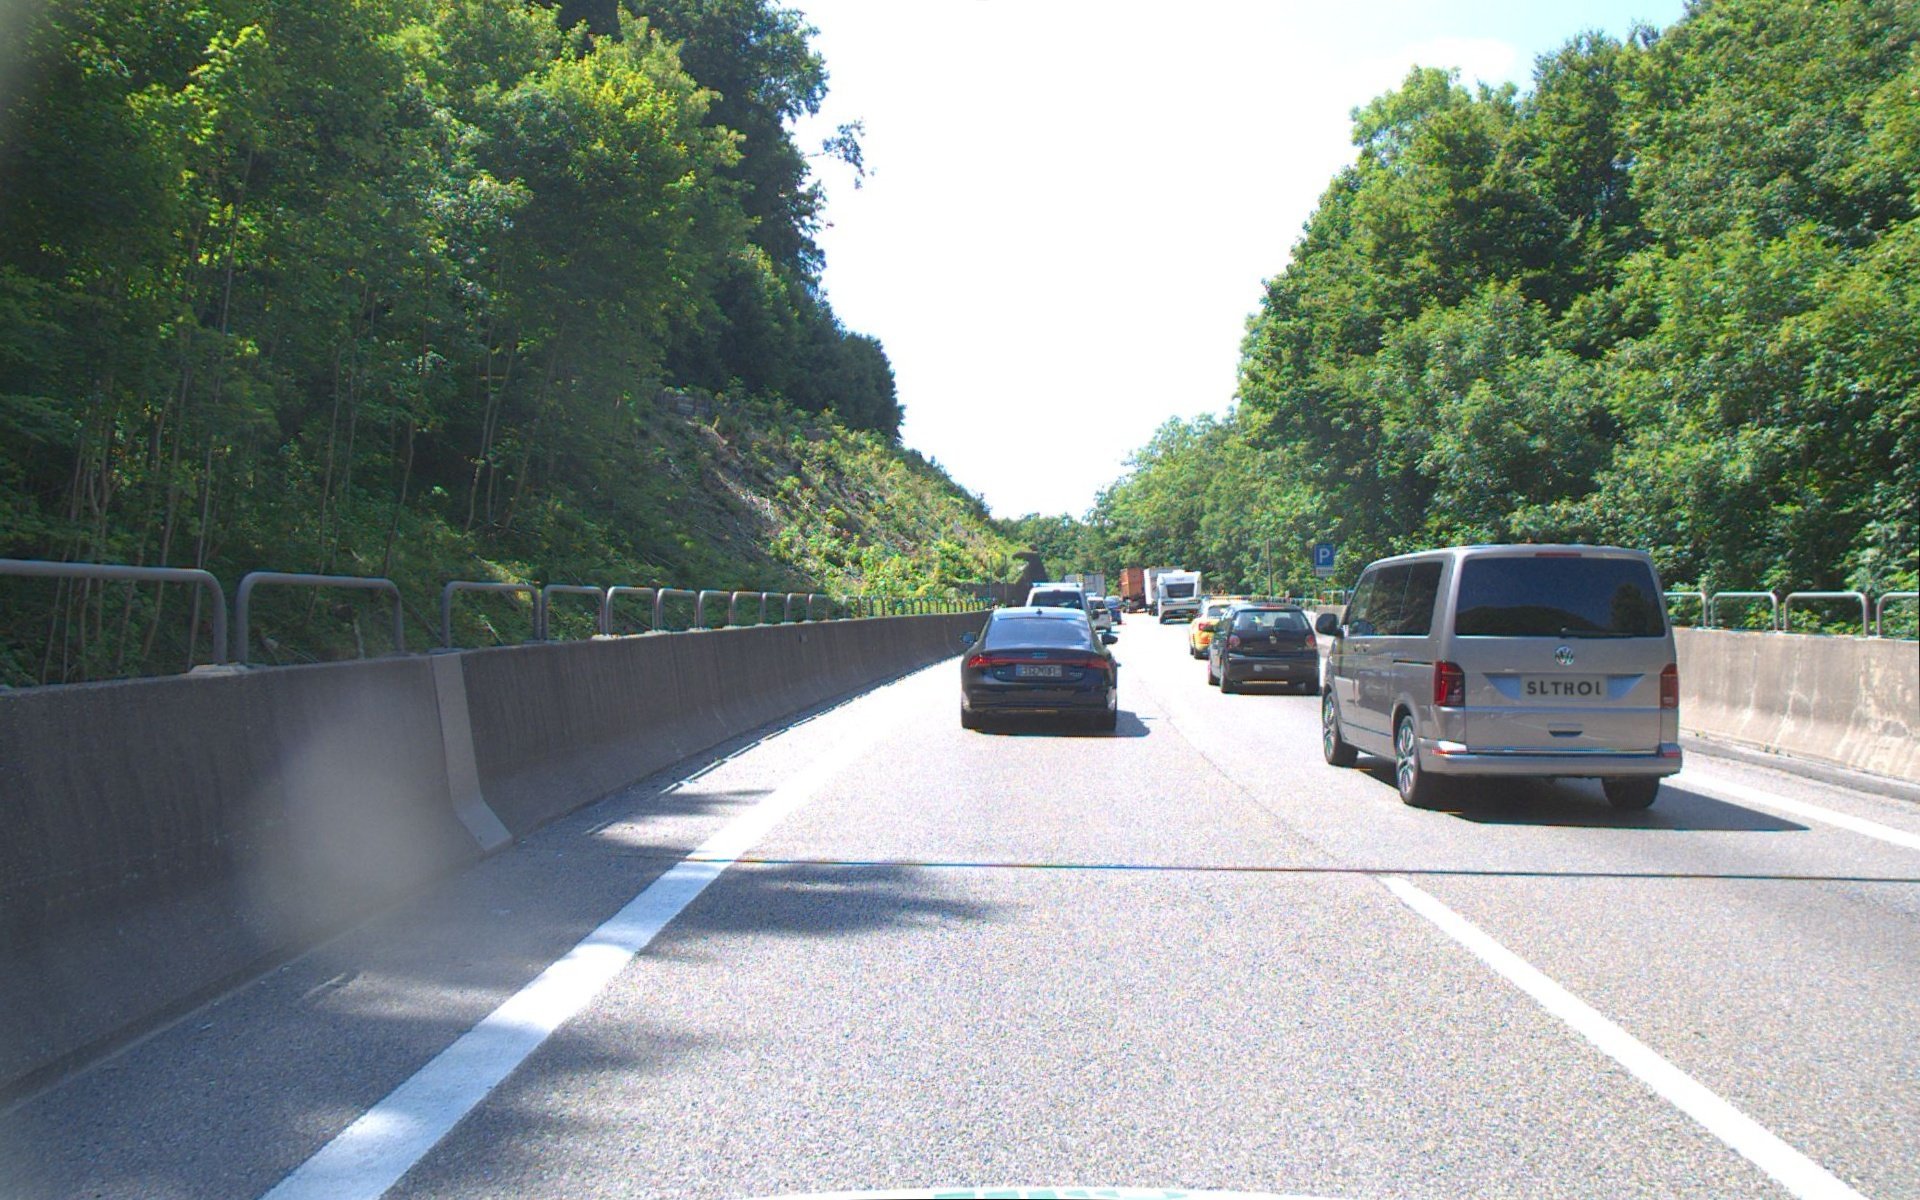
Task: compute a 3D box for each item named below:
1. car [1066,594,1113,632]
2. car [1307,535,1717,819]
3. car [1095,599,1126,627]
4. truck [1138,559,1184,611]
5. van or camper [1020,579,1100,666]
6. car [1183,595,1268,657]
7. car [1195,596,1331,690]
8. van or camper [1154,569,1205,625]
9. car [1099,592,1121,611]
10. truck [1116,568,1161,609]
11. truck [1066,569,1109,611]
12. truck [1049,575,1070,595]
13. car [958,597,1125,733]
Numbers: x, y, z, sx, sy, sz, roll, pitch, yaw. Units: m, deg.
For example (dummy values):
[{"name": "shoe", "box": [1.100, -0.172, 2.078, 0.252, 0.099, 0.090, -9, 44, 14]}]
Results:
[{"name": "car", "box": [5.638, 0.557, 72.486, 1.856, 1.612, 3.771, 0, 0, 1]}, {"name": "car", "box": [4.314, 0.533, 13.801, 1.900, 1.965, 4.694, 0, 0, 1]}, {"name": "car", "box": [8.670, 0.735, 95.290, 1.714, 1.598, 3.773, 0, 0, 5]}, {"name": "truck", "box": [15.159, -1.117, 125.189, 2.864, 3.752, 7.726, 0, 0, 2]}, {"name": "van or camper", "box": [2.407, 0.506, 39.515, 1.814, 1.976, 4.167, 0, 0, 4]}, {"name": "car", "box": [6.739, 0.636, 42.332, 1.770, 1.503, 4.083, 0, 0, 4]}, {"name": "car", "box": [5.114, 0.680, 28.330, 1.650, 1.484, 4.000, 0, 0, 1]}, {"name": "van or camper", "box": [11.767, -0.160, 89.034, 2.548, 2.905, 6.340, 0, 0, 6]}, {"name": "car", "box": [15.111, 0.183, 166.818, 1.953, 1.892, 4.000, 0, 0, 0]}, {"name": "truck", "box": [15.790, -0.959, 146.664, 3.098, 3.529, 8.221, 0, 0, 0]}, {"name": "truck", "box": [14.339, -1.067, 186.016, 3.637, 4.583, 7.717, 0, 0, -5]}, {"name": "truck", "box": [10.630, -1.609, 176.813, 1.953, 2.049, 3.999, 0, 0, -1]}, {"name": "car", "box": [0.916, 0.723, 20.704, 1.866, 1.515, 4.379, 0, 0, 0]}]
